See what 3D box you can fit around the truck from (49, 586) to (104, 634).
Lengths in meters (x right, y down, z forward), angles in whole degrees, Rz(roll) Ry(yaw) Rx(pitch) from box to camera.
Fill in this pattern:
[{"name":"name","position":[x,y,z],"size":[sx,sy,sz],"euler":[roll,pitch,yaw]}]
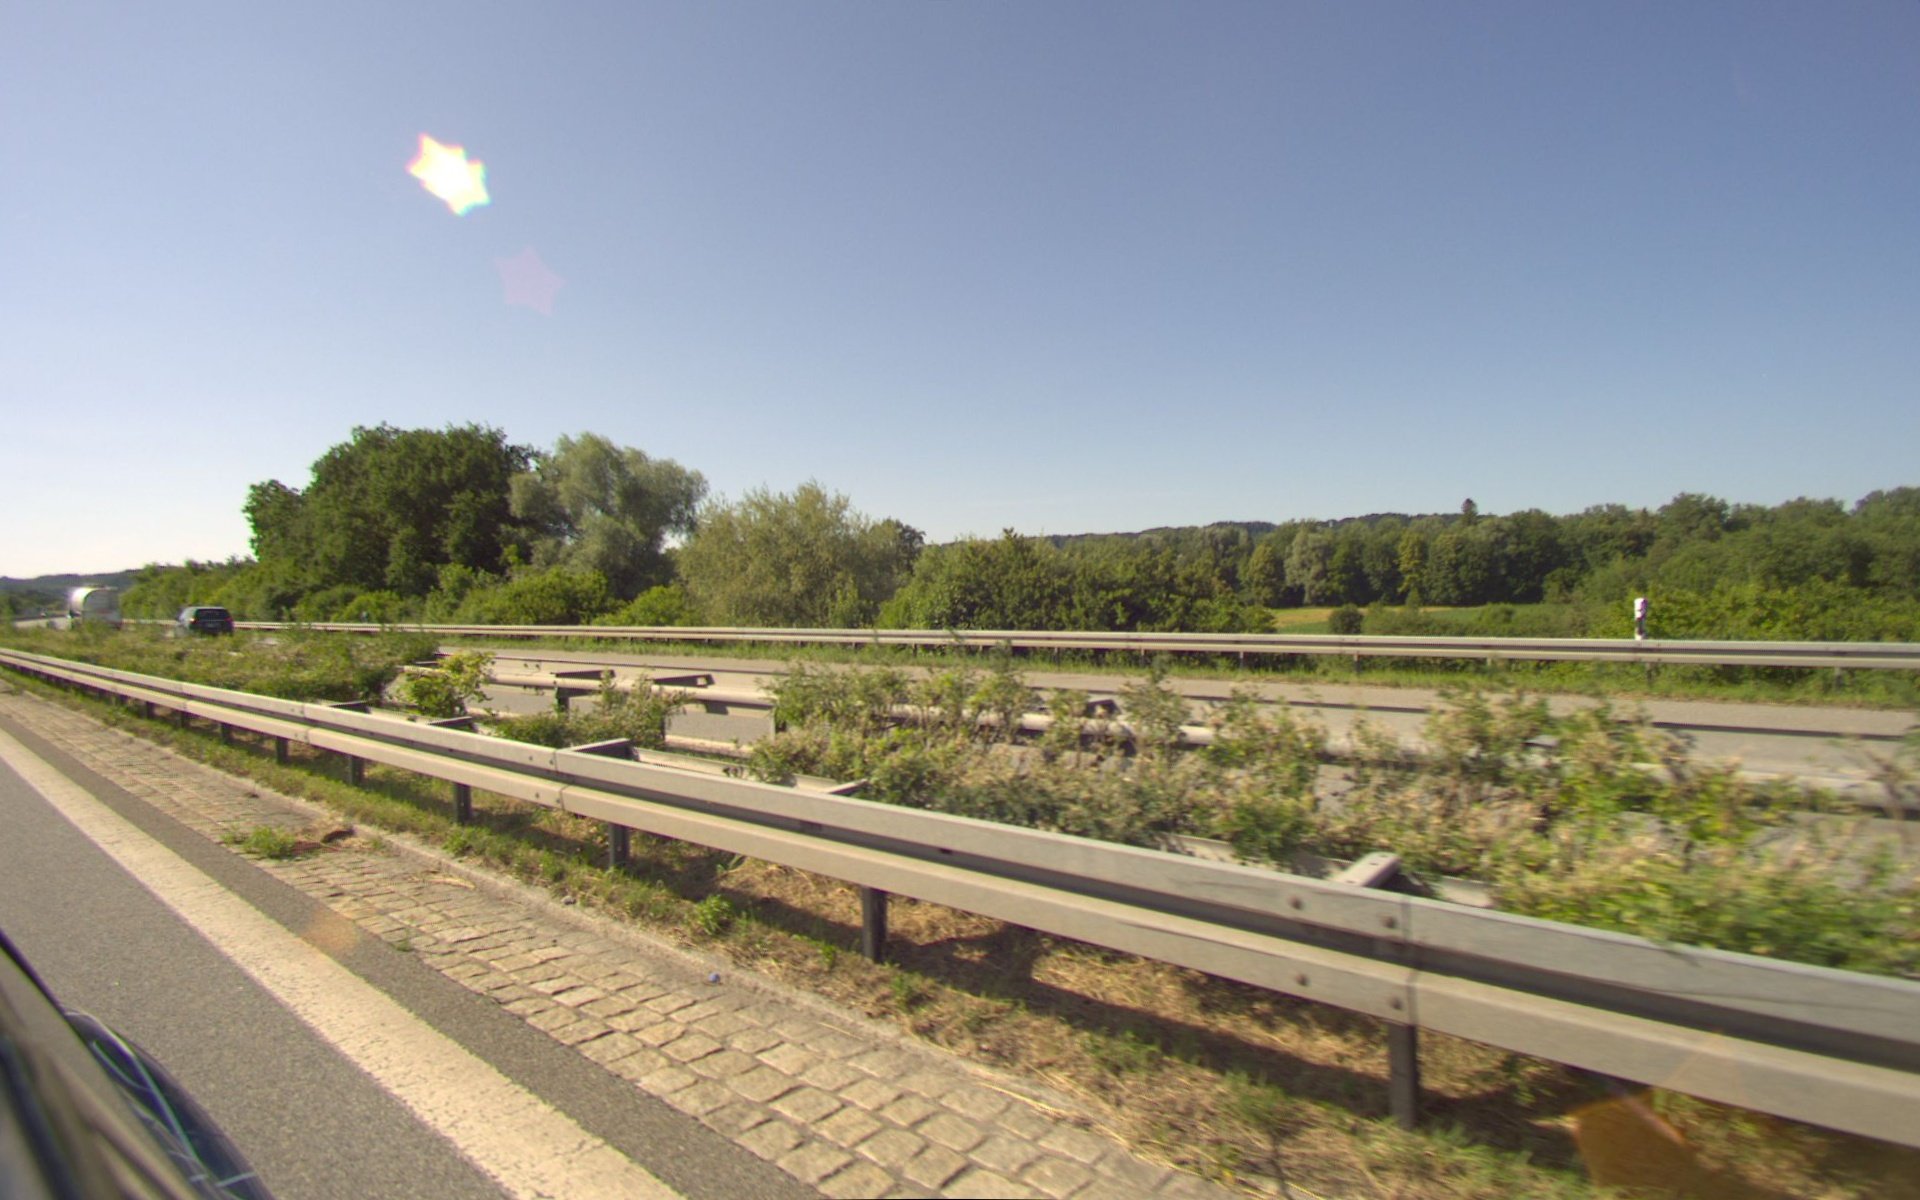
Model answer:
[{"name":"truck","position":[-71.799,0.858,82.217],"size":[5.971,3.755,2.711],"euler":[-1,-1,43]}]

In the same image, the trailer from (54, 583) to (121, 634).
[{"name":"trailer","position":[-67.600,0.708,78.324],"size":[10.912,3.755,2.711],"euler":[-1,-1,43]}]

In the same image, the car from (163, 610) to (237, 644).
[{"name":"car","position":[-36.160,1.289,48.120],"size":[4.418,1.566,1.972],"euler":[-1,-2,42]}]
